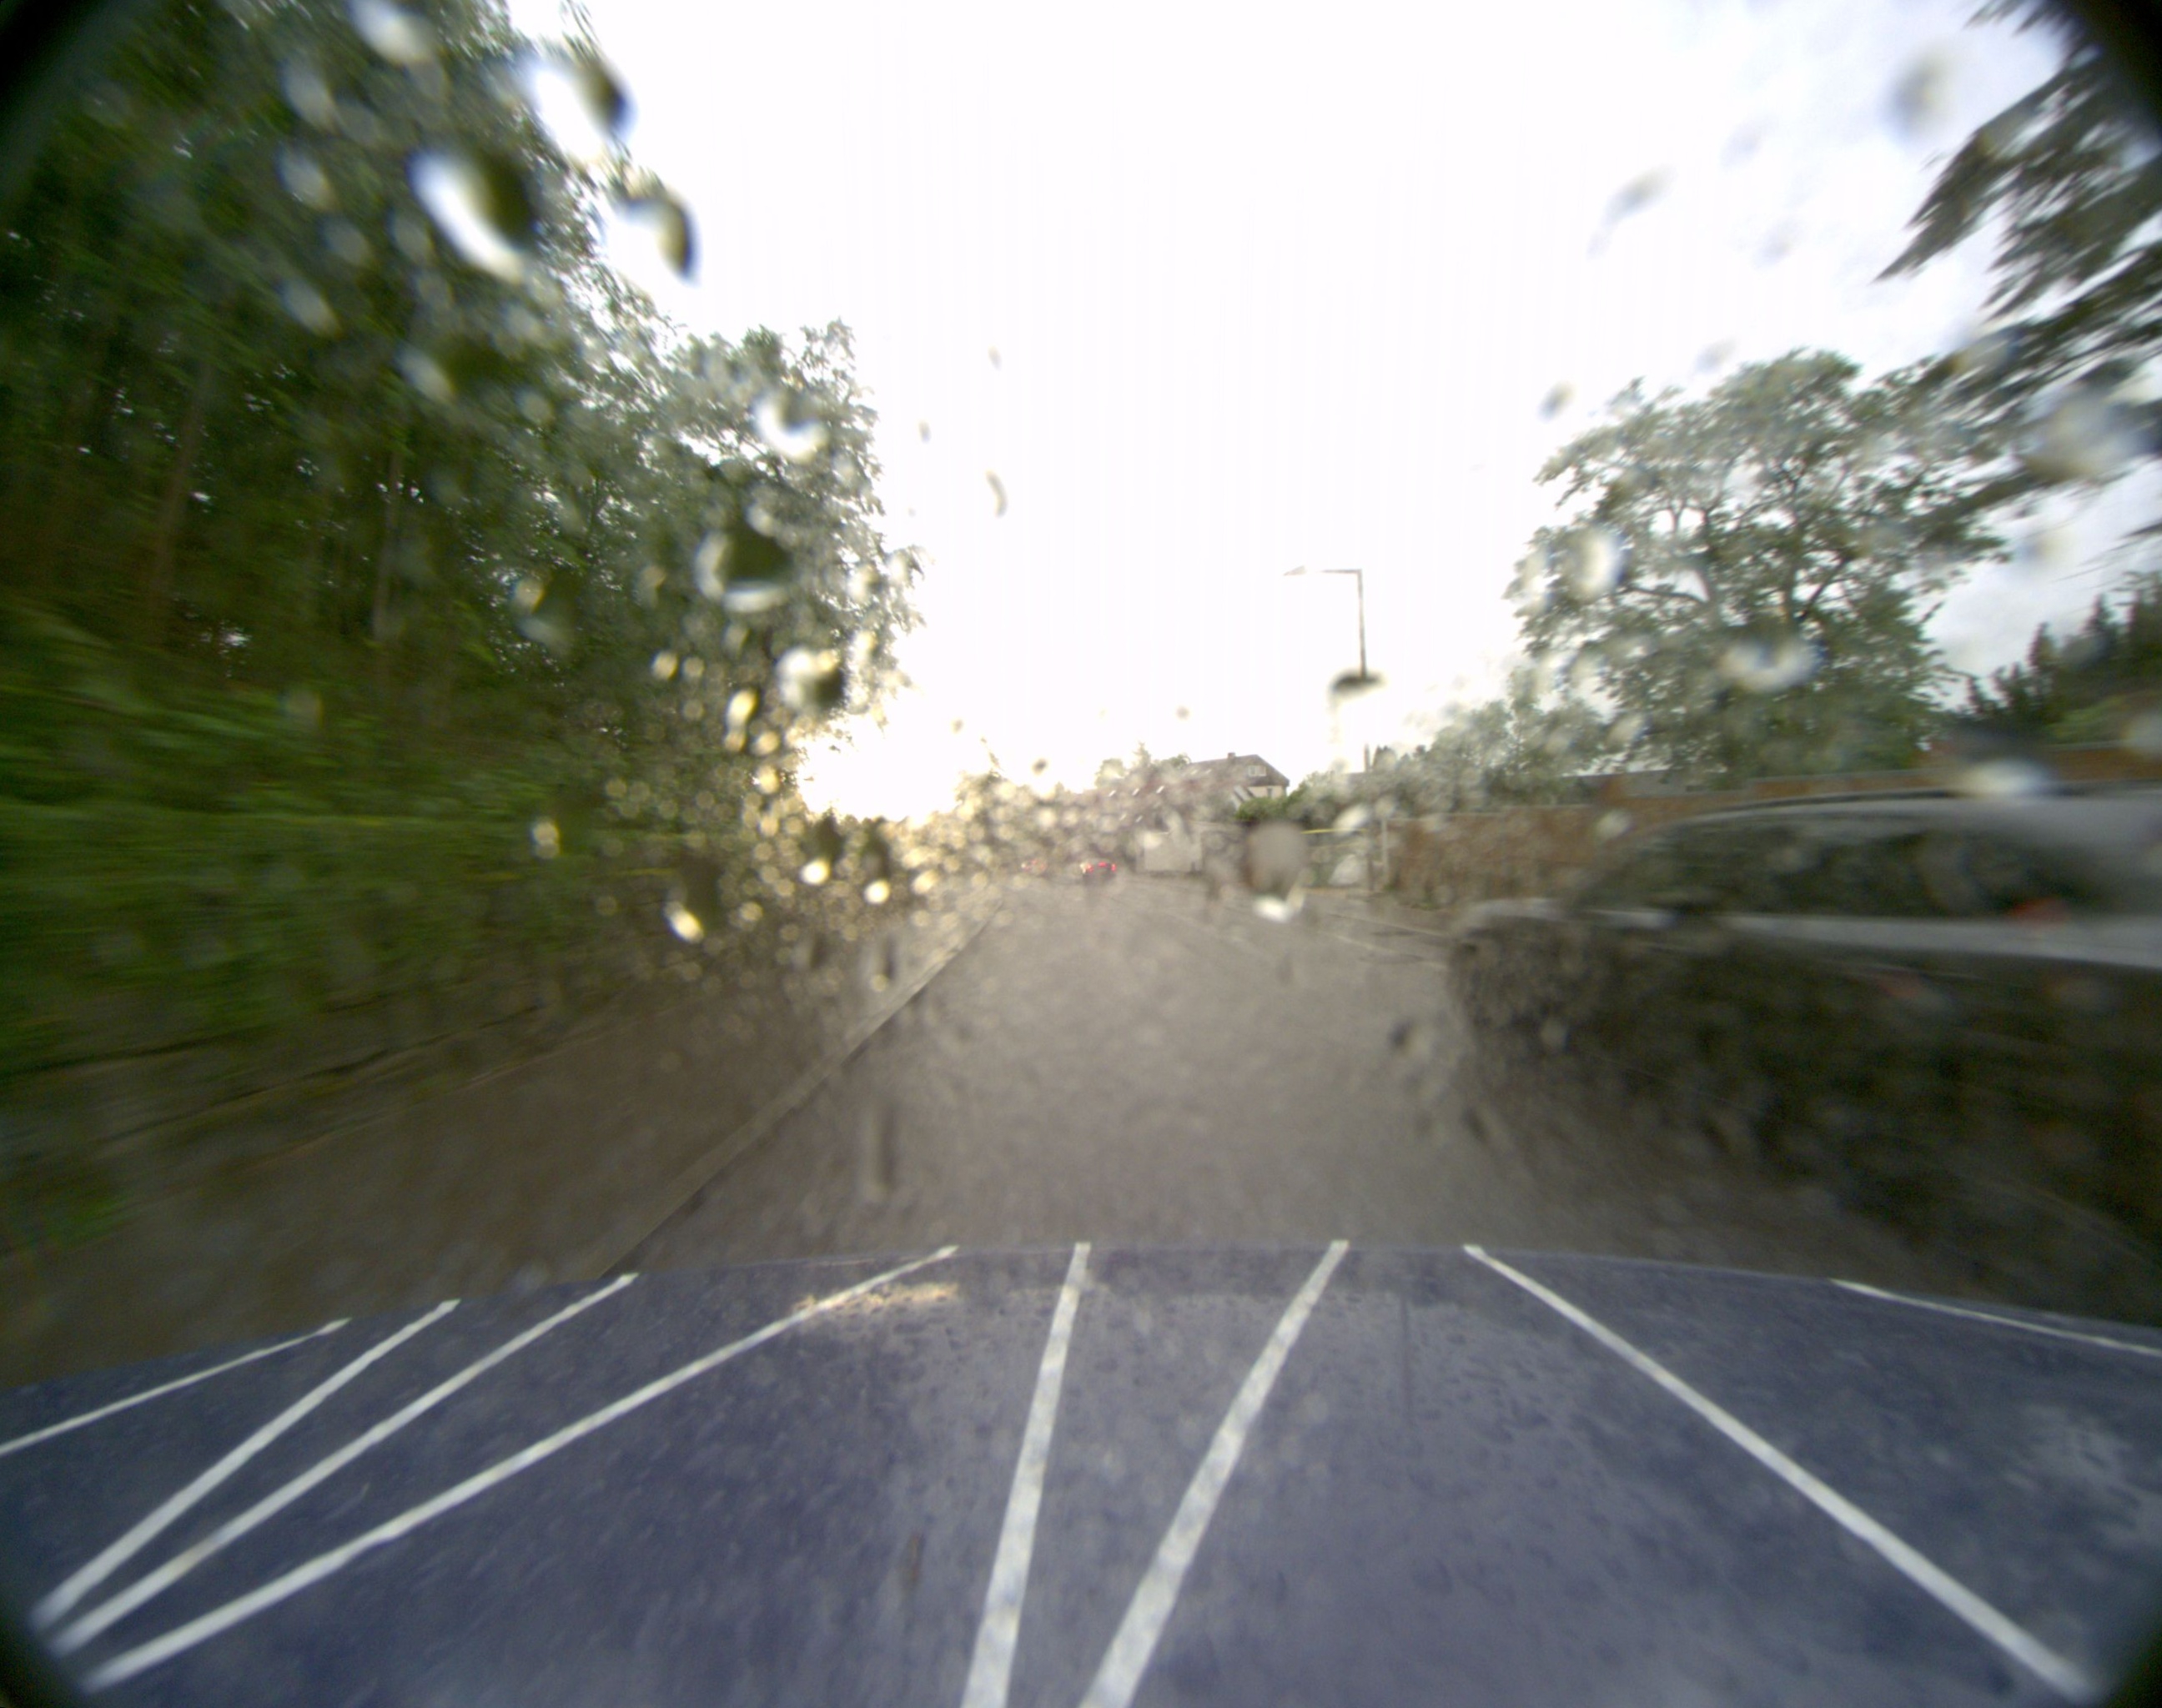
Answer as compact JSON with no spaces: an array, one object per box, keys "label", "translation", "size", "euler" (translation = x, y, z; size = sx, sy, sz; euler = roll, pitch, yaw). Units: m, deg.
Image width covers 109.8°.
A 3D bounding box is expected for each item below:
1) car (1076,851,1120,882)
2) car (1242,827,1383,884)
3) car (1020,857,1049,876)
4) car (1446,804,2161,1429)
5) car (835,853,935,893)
[{"label":"car","translation":[0.872,0.641,41.645],"size":[1.840,1.503,4.167],"euler":[-3,0,-6]},{"label":"car","translation":[8.543,0.057,28.307],"size":[4.515,1.849,2.089],"euler":[-3,0,-2]},{"label":"car","translation":[-4.211,1.097,68.006],"size":[1.840,1.503,4.612],"euler":[-3,0,-12]},{"label":"car","translation":[3.737,0.648,3.382],"size":[1.923,1.638,4.545],"euler":[-2,0,-1]},{"label":"car","translation":[-10.566,0.995,41.317],"size":[2.151,1.929,4.852],"euler":[-3,0,38]}]
